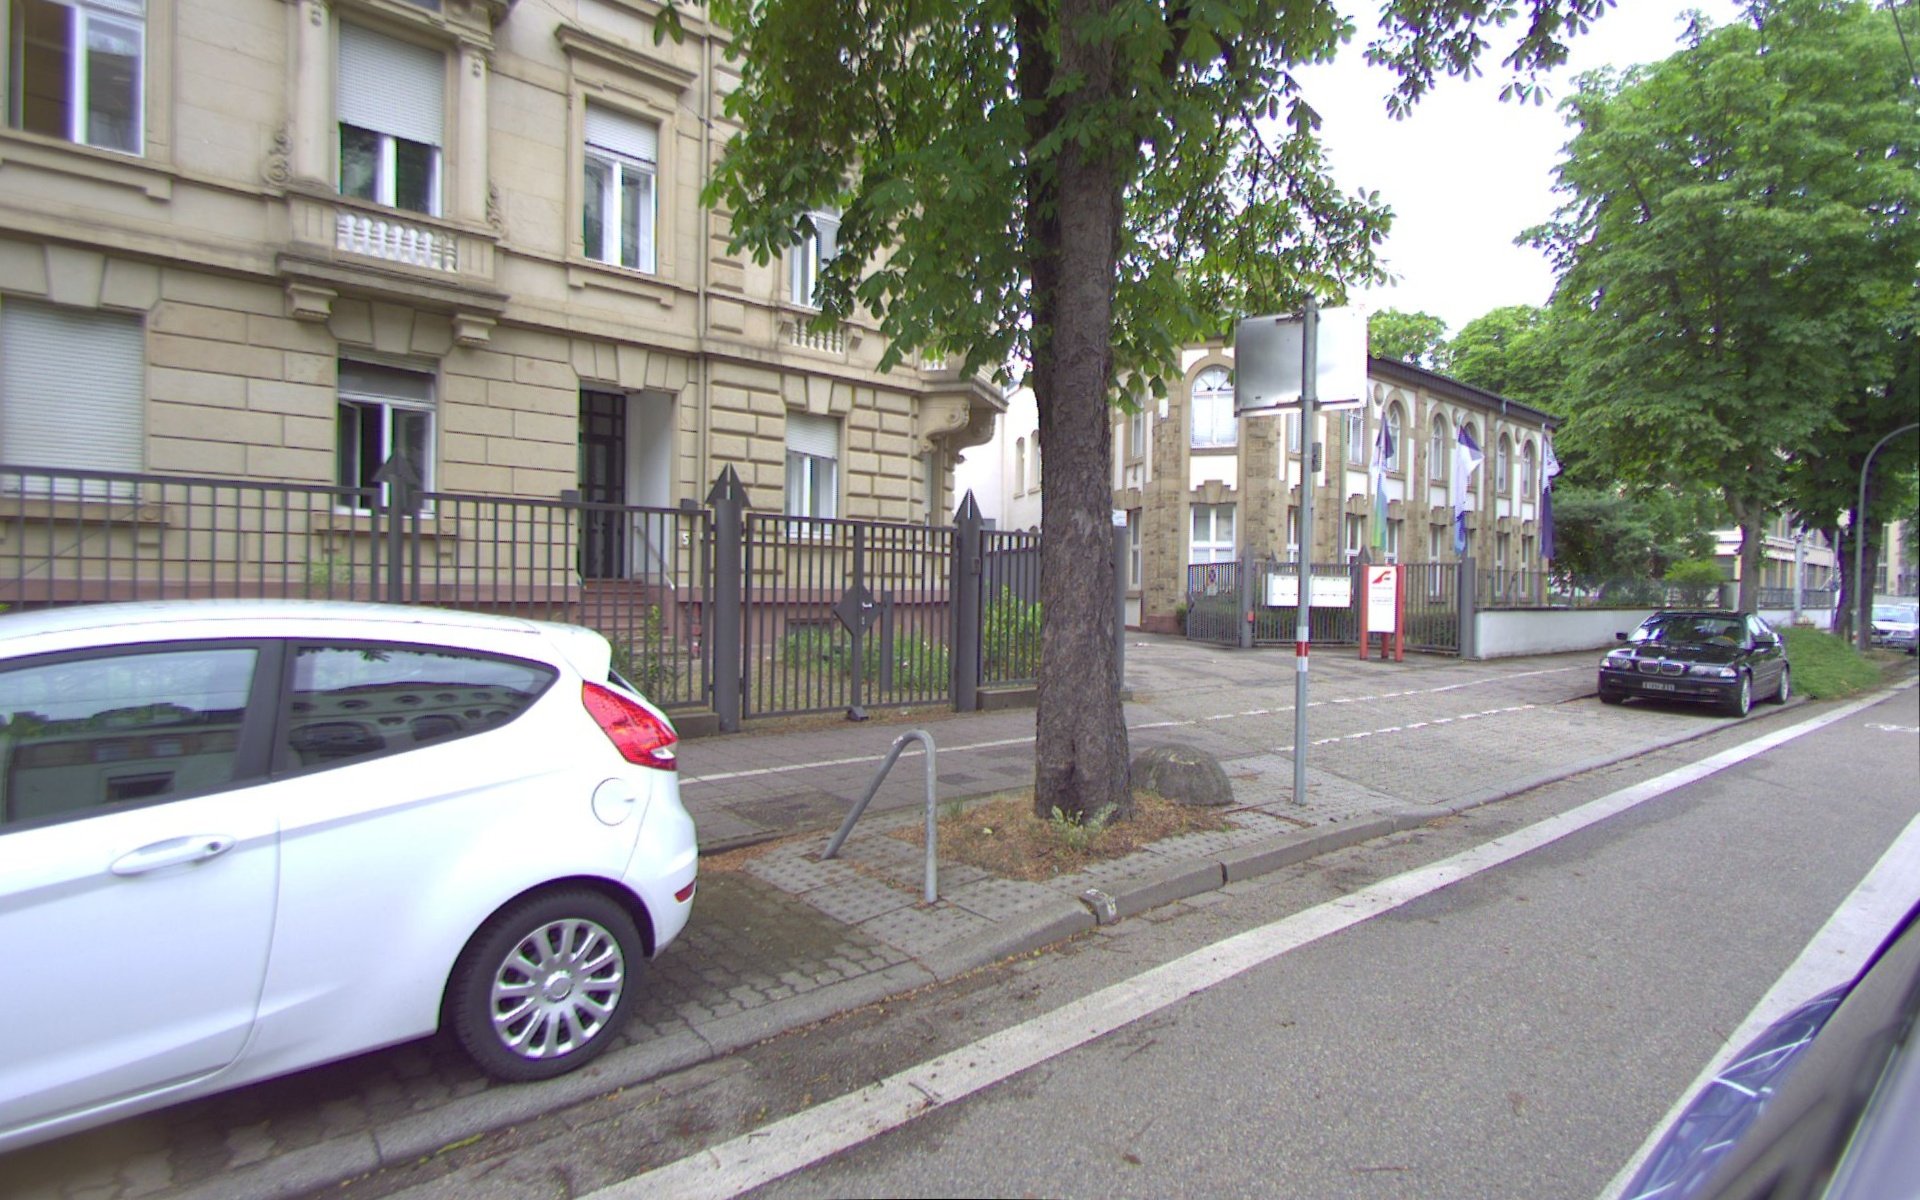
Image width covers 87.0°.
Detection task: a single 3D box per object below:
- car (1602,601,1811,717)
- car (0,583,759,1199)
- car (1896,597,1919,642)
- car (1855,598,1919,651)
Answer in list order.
[{"bbox_3d":[10.936,0.755,14.746,3.769,1.387,1.606,0,3,-41],"label":"car"},{"bbox_3d":[-2.636,0.716,2.917,3.698,1.453,1.631,0,3,-41],"label":"car"},{"bbox_3d":[32.868,0.649,34.019,3.769,1.442,1.606,0,3,-41],"label":"car"},{"bbox_3d":[27.517,0.678,29.484,3.769,1.387,1.606,0,3,-41],"label":"car"}]
